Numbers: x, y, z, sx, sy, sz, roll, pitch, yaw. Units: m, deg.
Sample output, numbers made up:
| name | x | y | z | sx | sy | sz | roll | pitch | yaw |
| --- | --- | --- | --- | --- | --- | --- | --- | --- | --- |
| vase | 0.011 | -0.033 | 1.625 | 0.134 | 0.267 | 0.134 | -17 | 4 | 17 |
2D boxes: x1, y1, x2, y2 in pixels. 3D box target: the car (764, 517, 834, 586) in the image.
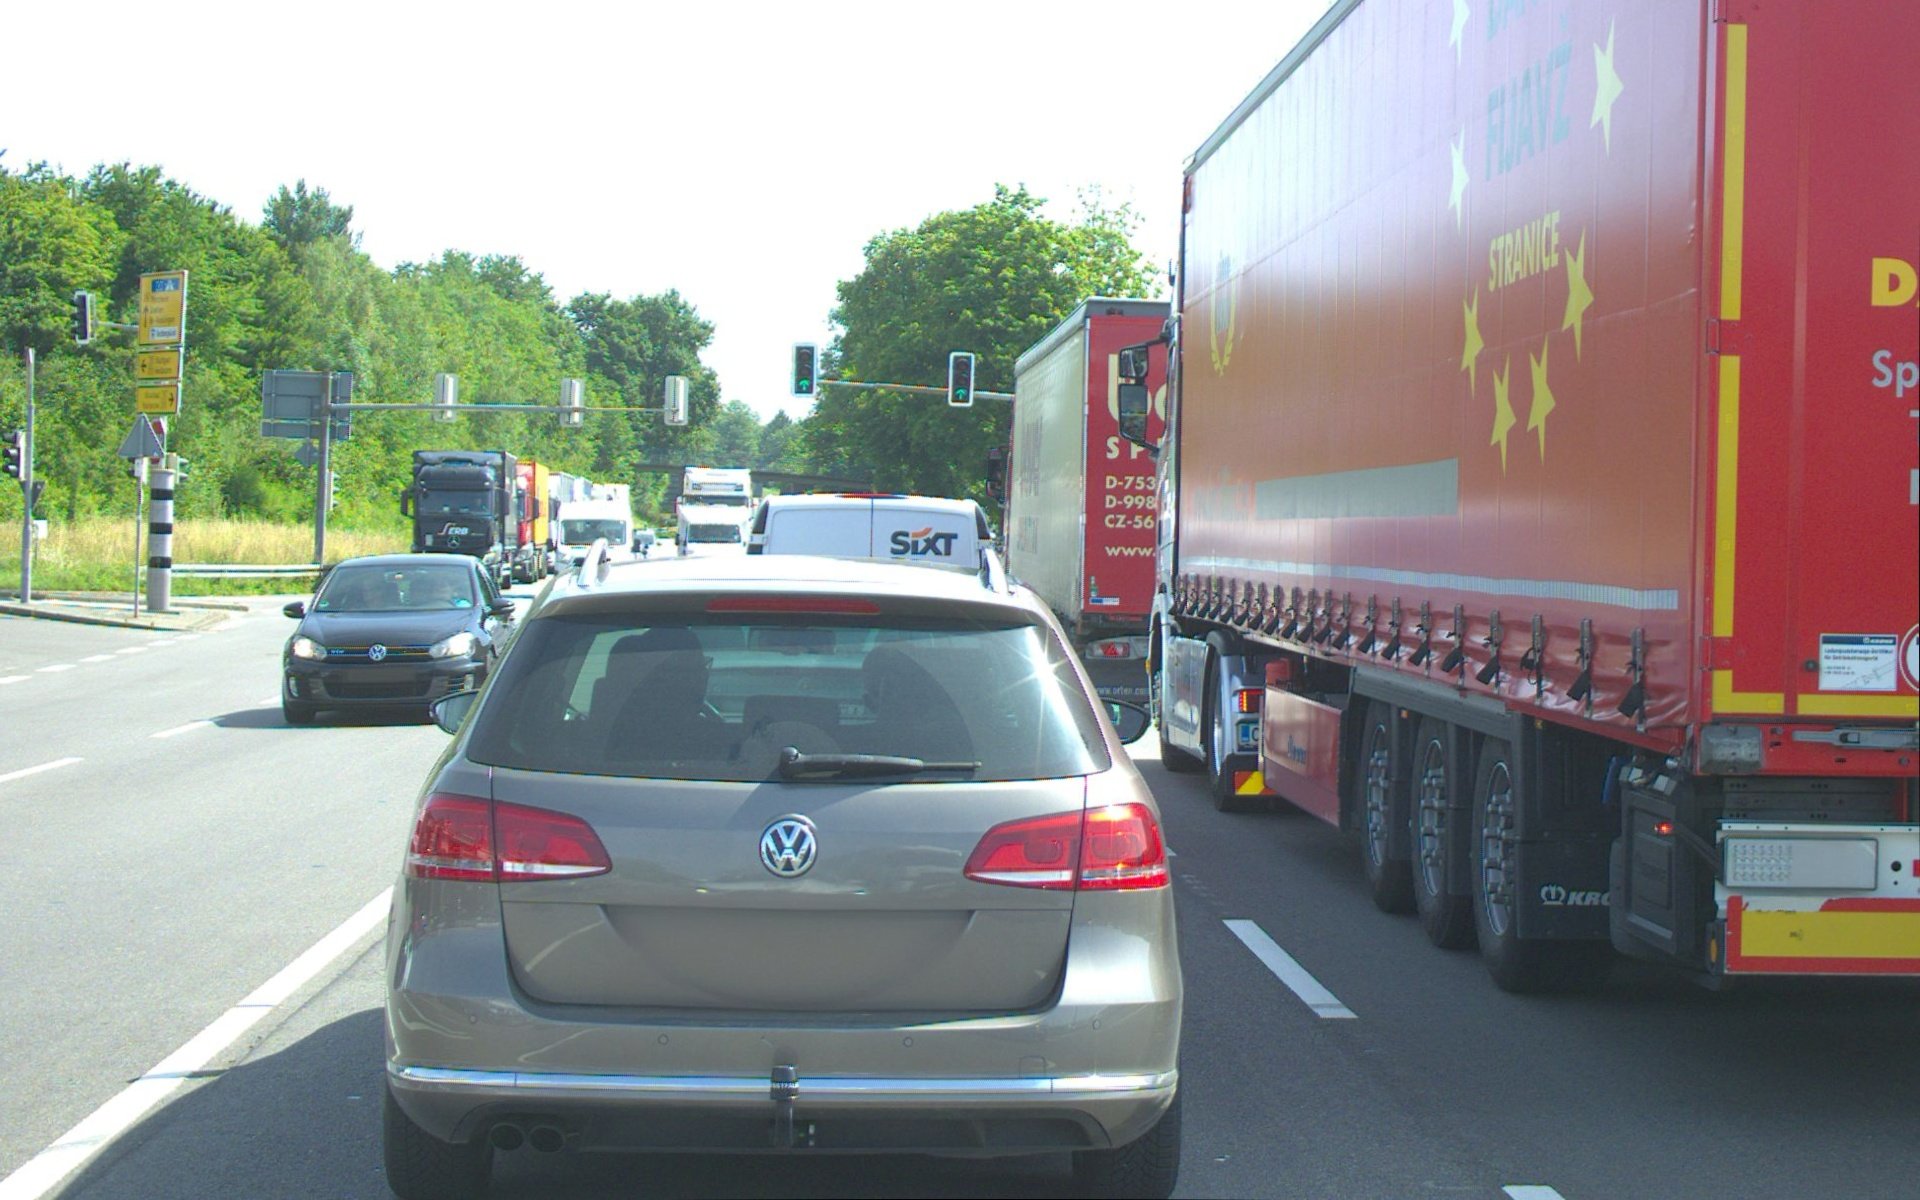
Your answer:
| name | x | y | z | sx | sy | sz | roll | pitch | yaw |
| --- | --- | --- | --- | --- | --- | --- | --- | --- | --- |
| car | -4.610 | -1.366 | 98.580 | 1.727 | 1.902 | 3.312 | 1 | 0 | 1 |

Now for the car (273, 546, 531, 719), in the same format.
| name | x | y | z | sx | sy | sz | roll | pitch | yaw |
| --- | --- | --- | --- | --- | --- | --- | --- | --- | --- |
| car | -4.873 | 0.239 | 30.481 | 1.666 | 1.404 | 3.926 | -1 | 1 | 0 |

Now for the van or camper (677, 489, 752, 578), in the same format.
| name | x | y | z | sx | sy | sz | roll | pitch | yaw |
| --- | --- | --- | --- | --- | --- | --- | --- | --- | --- |
| van or camper | -8.141 | -2.170 | 114.548 | 2.224 | 2.831 | 5.711 | 1 | 0 | -2 |

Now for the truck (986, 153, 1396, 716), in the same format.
| name | x | y | z | sx | sy | sz | roll | pitch | yaw |
| --- | --- | --- | --- | --- | --- | --- | --- | --- | --- |
| truck | 2.227 | -1.712 | 40.689 | 3.062 | 5.203 | 17.009 | 1 | 1 | -2 |

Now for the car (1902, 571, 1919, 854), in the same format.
| name | x | y | z | sx | sy | sz | roll | pitch | yaw |
| --- | --- | --- | --- | --- | --- | --- | --- | --- | --- |
| car | 5.974 | 0.621 | 16.185 | 1.658 | 1.467 | 4.001 | 0 | 1 | -5 |

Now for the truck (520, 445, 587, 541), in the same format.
| name | x | y | z | sx | sy | sz | roll | pitch | yaw |
| --- | --- | --- | --- | --- | --- | --- | --- | --- | --- |
| truck | -16.425 | -4.294 | 139.157 | 2.532 | 3.773 | 6.991 | -1 | 1 | -6 |

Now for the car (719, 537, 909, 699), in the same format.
| name | x | y | z | sx | sy | sz | roll | pitch | yaw |
| --- | --- | --- | --- | --- | --- | --- | --- | --- | --- |
| car | -1.429 | 0.164 | 34.690 | 1.727 | 1.514 | 3.312 | 1 | 0 | 0 |

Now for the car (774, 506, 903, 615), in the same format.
| name | x | y | z | sx | sy | sz | roll | pitch | yaw |
| --- | --- | --- | --- | --- | --- | --- | --- | --- | --- |
| car | -1.749 | -0.566 | 50.359 | 1.727 | 1.514 | 3.312 | 1 | 0 | 0 |

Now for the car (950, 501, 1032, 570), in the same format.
| name | x | y | z | sx | sy | sz | roll | pitch | yaw |
| --- | --- | --- | --- | --- | --- | --- | --- | --- | --- |
| car | 0.704 | -1.481 | 80.043 | 1.726 | 1.514 | 3.312 | 2 | 0 | -2 |

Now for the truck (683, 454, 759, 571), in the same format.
| name | x | y | z | sx | sy | sz | roll | pitch | yaw |
| --- | --- | --- | --- | --- | --- | --- | --- | --- | --- |
| truck | -8.943 | -3.272 | 129.351 | 2.552 | 4.292 | 7.596 | 0 | 1 | -2 |

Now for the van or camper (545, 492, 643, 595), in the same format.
| name | x | y | z | sx | sy | sz | roll | pitch | yaw |
| --- | --- | --- | --- | --- | --- | --- | --- | --- | --- |
| van or camper | -9.399 | -1.453 | 88.502 | 2.173 | 2.542 | 4.171 | 1 | 1 | -2 |

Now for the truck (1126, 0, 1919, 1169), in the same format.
| name | x | y | z | sx | sy | sz | roll | pitch | yaw |
| --- | --- | --- | --- | --- | --- | --- | --- | --- | --- |
| truck | 2.993 | -0.863 | 16.788 | 2.957 | 4.255 | 16.586 | 1 | 1 | -2 |

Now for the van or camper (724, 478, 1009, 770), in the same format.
| name | x | y | z | sx | sy | sz | roll | pitch | yaw |
| --- | --- | --- | --- | --- | --- | --- | --- | --- | --- |
| van or camper | -0.696 | 0.127 | 24.735 | 1.852 | 1.899 | 3.785 | 1 | 1 | -2 |

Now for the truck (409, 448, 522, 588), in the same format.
| name | x | y | z | sx | sy | sz | roll | pitch | yaw |
| --- | --- | --- | --- | --- | --- | --- | --- | --- | --- |
| truck | -13.913 | -2.307 | 97.134 | 2.812 | 3.773 | 6.991 | -1 | 1 | -6 |

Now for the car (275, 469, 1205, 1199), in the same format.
| name | x | y | z | sx | sy | sz | roll | pitch | yaw |
| --- | --- | --- | --- | --- | --- | --- | --- | --- | --- |
| car | -0.382 | 0.543 | 8.376 | 1.790 | 1.633 | 3.503 | 0 | 1 | 2 |
